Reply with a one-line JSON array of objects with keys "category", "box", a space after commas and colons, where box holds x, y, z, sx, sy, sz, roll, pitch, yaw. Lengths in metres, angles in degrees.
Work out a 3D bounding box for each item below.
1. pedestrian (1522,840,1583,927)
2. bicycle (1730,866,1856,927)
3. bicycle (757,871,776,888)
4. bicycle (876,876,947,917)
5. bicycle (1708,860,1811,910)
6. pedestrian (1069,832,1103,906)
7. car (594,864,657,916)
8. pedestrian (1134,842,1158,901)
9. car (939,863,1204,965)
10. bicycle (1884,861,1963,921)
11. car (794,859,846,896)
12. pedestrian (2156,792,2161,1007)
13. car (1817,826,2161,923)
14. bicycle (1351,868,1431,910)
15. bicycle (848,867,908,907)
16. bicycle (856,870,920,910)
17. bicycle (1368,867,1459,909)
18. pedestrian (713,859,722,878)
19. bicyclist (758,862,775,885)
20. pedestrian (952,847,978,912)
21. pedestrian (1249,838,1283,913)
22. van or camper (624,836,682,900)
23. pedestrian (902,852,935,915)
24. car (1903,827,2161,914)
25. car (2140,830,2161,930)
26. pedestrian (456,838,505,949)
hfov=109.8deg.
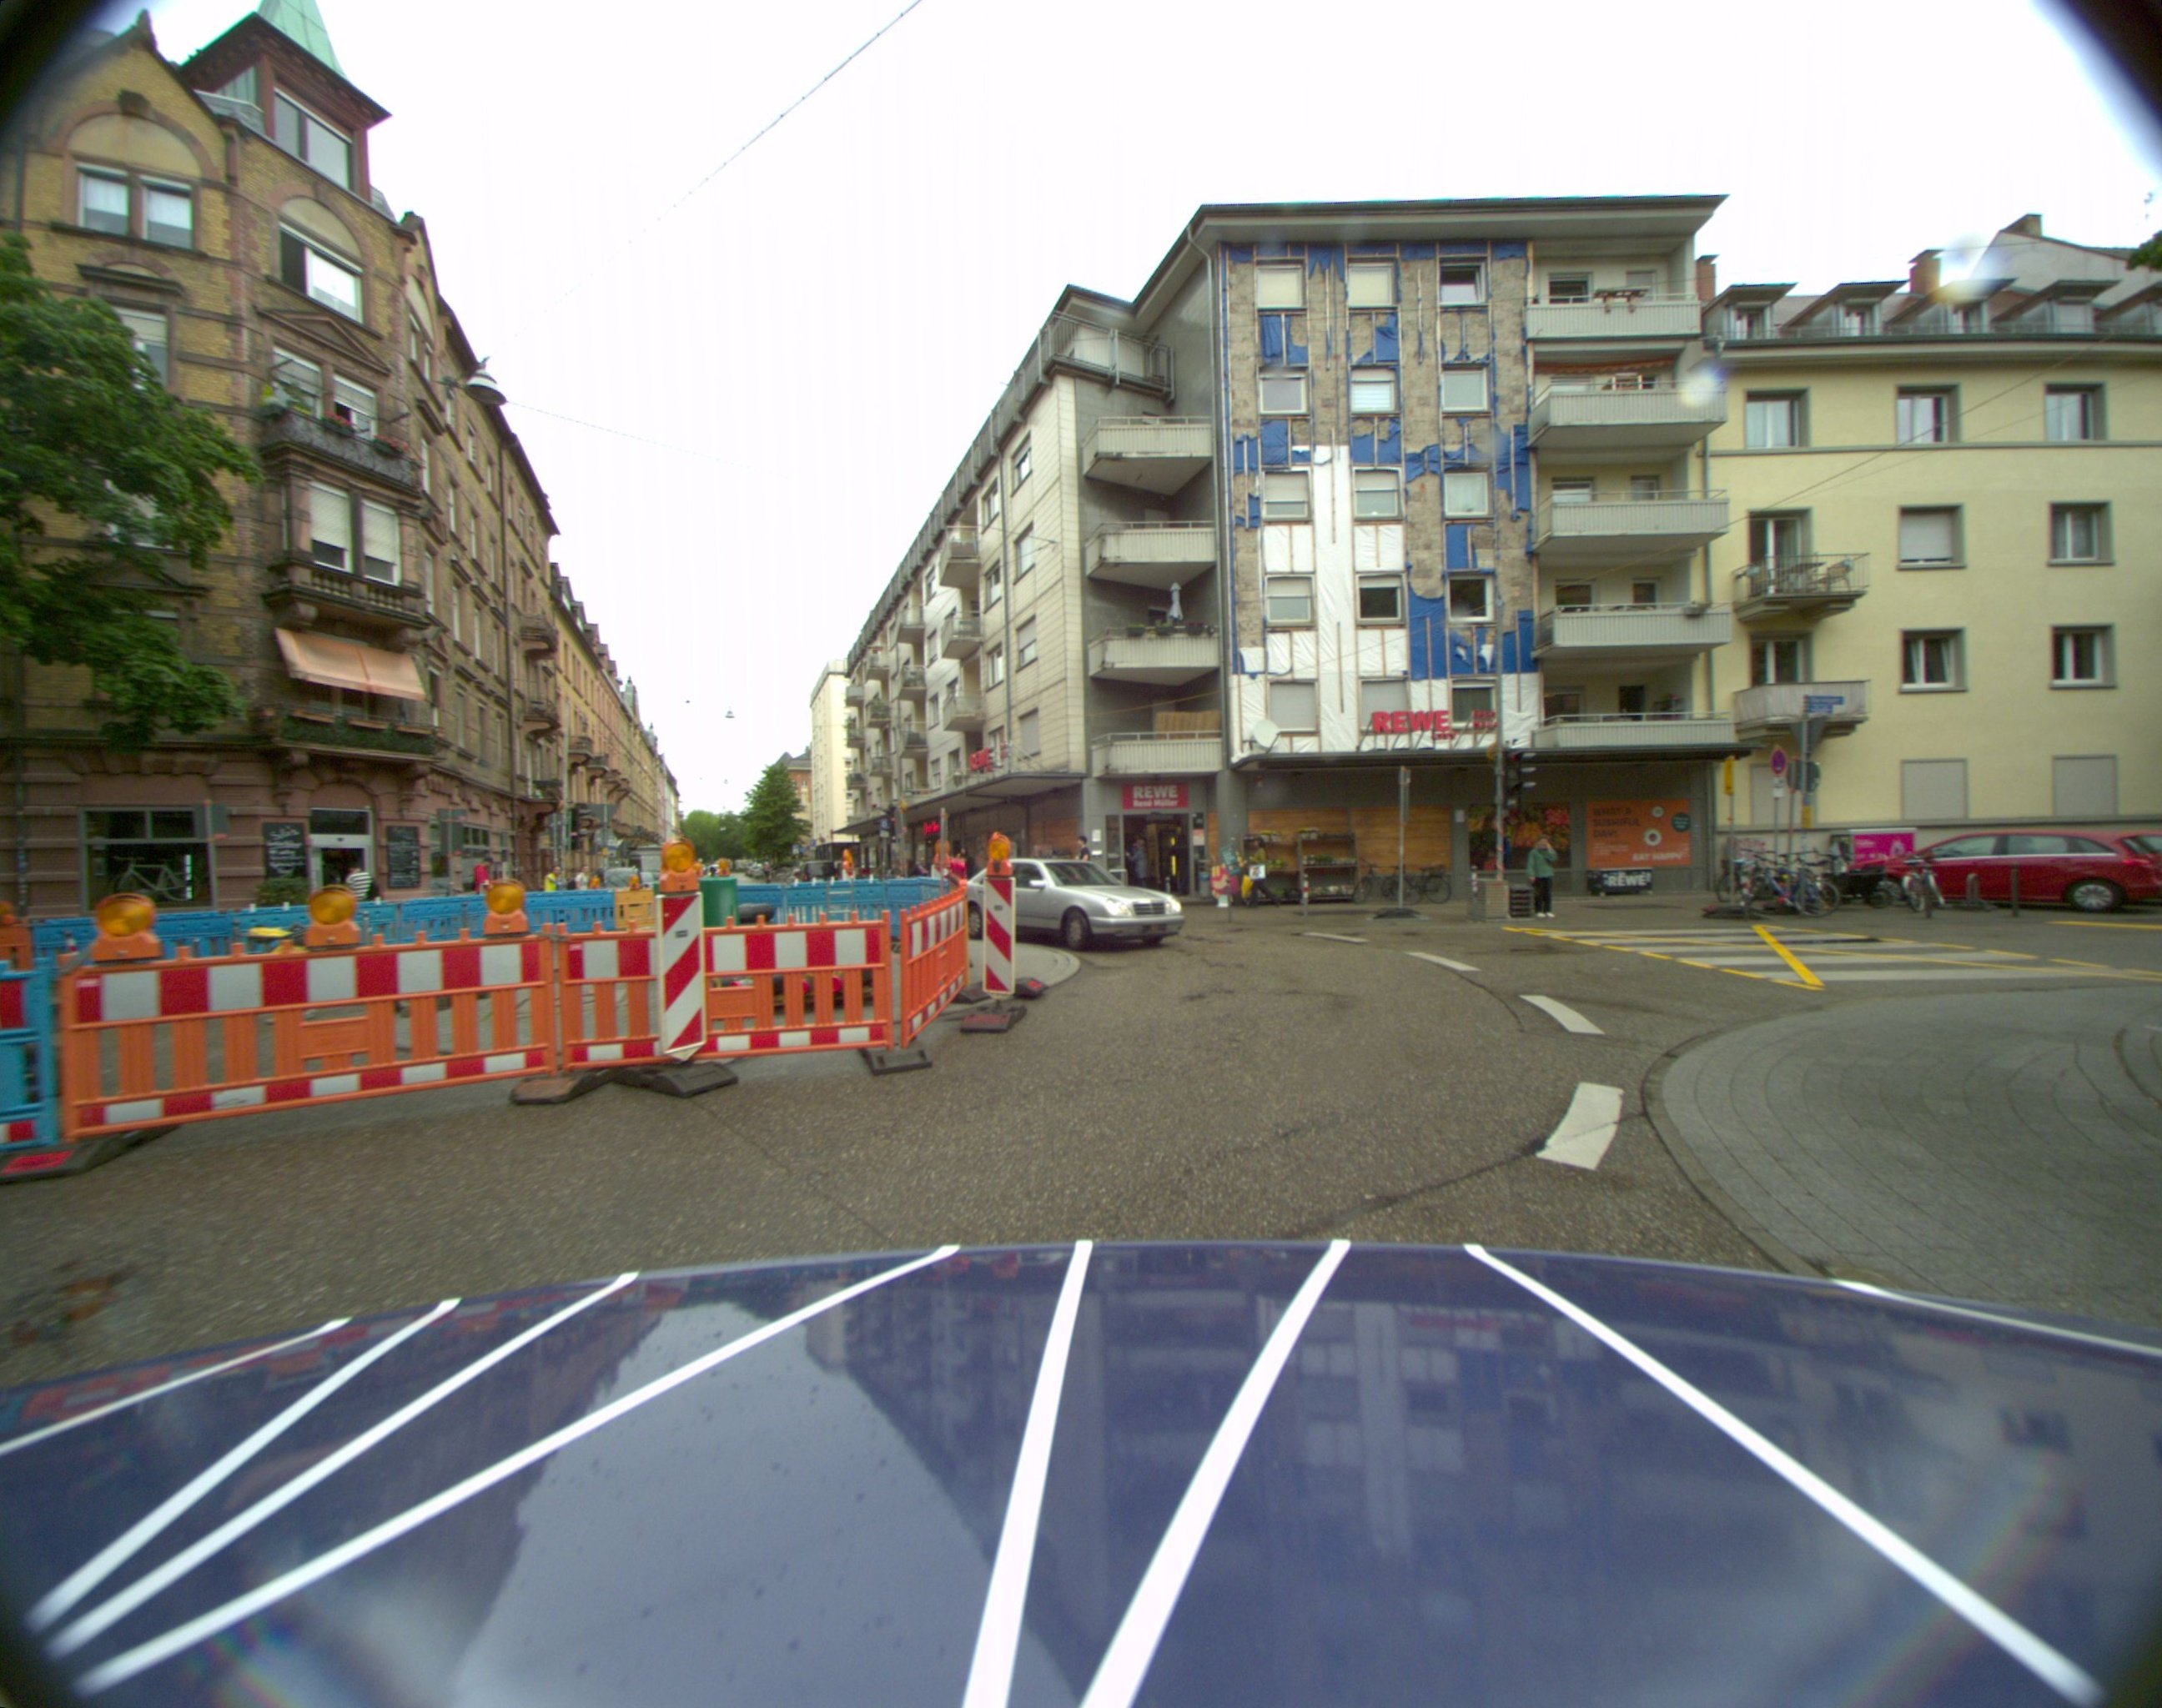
[{"category": "pedestrian", "box": [9.078, 0.556, 14.643, 0.798, 1.606, 0.605, -2, 1, 10]}, {"category": "bicycle", "box": [13.327, 0.763, 14.313, 0.589, 0.966, 2.001, -2, 2, 4]}, {"category": "bicycle", "box": [-23.057, 1.843, 55.659, 0.995, 1.149, 2.870, -2, 0, -27]}, {"category": "bicycle", "box": [-5.048, 1.262, 22.704, 1.898, 1.028, 0.660, -5, 1, -39]}, {"category": "bicycle", "box": [15.111, 0.678, 16.934, 2.001, 0.966, 0.589, -2, 2, -9]}, {"category": "pedestrian", "box": [0.134, 0.386, 19.971, 0.718, 1.886, 0.605, -2, 1, 10]}, {"category": "car", "box": [-17.566, 1.330, 29.474, 1.905, 1.779, 3.991, -2, 0, -29]}, {"category": "pedestrian", "box": [1.790, 0.463, 20.916, 0.544, 1.575, 0.694, -2, 1, 10]}, {"category": "car", "box": [-0.399, 0.872, 13.168, 1.864, 1.390, 4.966, -2, 0, -40]}, {"category": "bicycle", "box": [16.057, 0.678, 14.470, 2.004, 0.966, 0.588, -3, 3, -30]}, {"category": "car", "box": [-13.956, 1.213, 40.539, 1.905, 1.779, 3.991, -2, 0, -29]}, {"category": "pedestrian", "box": [10.435, 0.414, 6.583, 0.943, 2.002, 0.865, -2, 0, 10]}, {"category": "car", "box": [18.599, 0.378, 15.727, 2.003, 1.671, 4.448, -2, 0, -31]}, {"category": "bicycle", "box": [7.430, 0.839, 18.221, 1.687, 0.965, 0.569, -2, 0, 30]}, {"category": "bicycle", "box": [-7.495, 1.215, 28.060, 2.025, 1.271, 0.550, -5, 1, -19]}, {"category": "bicycle", "box": [-6.659, 1.221, 26.275, 2.025, 1.189, 0.550, -5, 1, -19]}, {"category": "bicycle", "box": [8.175, 0.817, 18.699, 1.996, 0.965, 0.590, 0, 1, 30]}, {"category": "pedestrian", "box": [-37.894, 1.497, 79.130, 0.770, 2.002, 0.860, -2, 2, -26]}, {"category": "bicyclist", "box": [-23.062, 1.424, 55.649, 0.995, 1.591, 1.259, -2, 0, -27]}, {"category": "pedestrian", "box": [-3.394, 0.732, 22.213, 0.605, 1.837, 0.768, -2, 1, -17]}, {"category": "pedestrian", "box": [4.433, 0.506, 18.278, 0.693, 1.755, 0.865, -2, 1, 10]}, {"category": "van or camper", "box": [-24.314, 0.773, 43.402, 2.416, 3.308, 7.058, -2, 0, -27]}, {"category": "pedestrian", "box": [-4.896, 0.862, 22.871, 0.864, 1.837, 0.768, -2, 0, -17]}, {"category": "car", "box": [20.977, 0.322, 16.131, 2.003, 1.661, 4.448, -2, 0, -30]}, {"category": "car", "box": [19.735, 0.368, 11.668, 4.384, 1.630, 1.843, -1, -1, 0]}, {"category": "pedestrian", "box": [-14.354, 0.924, 18.168, 0.539, 2.594, 0.697, -1, 2, 33]}]
